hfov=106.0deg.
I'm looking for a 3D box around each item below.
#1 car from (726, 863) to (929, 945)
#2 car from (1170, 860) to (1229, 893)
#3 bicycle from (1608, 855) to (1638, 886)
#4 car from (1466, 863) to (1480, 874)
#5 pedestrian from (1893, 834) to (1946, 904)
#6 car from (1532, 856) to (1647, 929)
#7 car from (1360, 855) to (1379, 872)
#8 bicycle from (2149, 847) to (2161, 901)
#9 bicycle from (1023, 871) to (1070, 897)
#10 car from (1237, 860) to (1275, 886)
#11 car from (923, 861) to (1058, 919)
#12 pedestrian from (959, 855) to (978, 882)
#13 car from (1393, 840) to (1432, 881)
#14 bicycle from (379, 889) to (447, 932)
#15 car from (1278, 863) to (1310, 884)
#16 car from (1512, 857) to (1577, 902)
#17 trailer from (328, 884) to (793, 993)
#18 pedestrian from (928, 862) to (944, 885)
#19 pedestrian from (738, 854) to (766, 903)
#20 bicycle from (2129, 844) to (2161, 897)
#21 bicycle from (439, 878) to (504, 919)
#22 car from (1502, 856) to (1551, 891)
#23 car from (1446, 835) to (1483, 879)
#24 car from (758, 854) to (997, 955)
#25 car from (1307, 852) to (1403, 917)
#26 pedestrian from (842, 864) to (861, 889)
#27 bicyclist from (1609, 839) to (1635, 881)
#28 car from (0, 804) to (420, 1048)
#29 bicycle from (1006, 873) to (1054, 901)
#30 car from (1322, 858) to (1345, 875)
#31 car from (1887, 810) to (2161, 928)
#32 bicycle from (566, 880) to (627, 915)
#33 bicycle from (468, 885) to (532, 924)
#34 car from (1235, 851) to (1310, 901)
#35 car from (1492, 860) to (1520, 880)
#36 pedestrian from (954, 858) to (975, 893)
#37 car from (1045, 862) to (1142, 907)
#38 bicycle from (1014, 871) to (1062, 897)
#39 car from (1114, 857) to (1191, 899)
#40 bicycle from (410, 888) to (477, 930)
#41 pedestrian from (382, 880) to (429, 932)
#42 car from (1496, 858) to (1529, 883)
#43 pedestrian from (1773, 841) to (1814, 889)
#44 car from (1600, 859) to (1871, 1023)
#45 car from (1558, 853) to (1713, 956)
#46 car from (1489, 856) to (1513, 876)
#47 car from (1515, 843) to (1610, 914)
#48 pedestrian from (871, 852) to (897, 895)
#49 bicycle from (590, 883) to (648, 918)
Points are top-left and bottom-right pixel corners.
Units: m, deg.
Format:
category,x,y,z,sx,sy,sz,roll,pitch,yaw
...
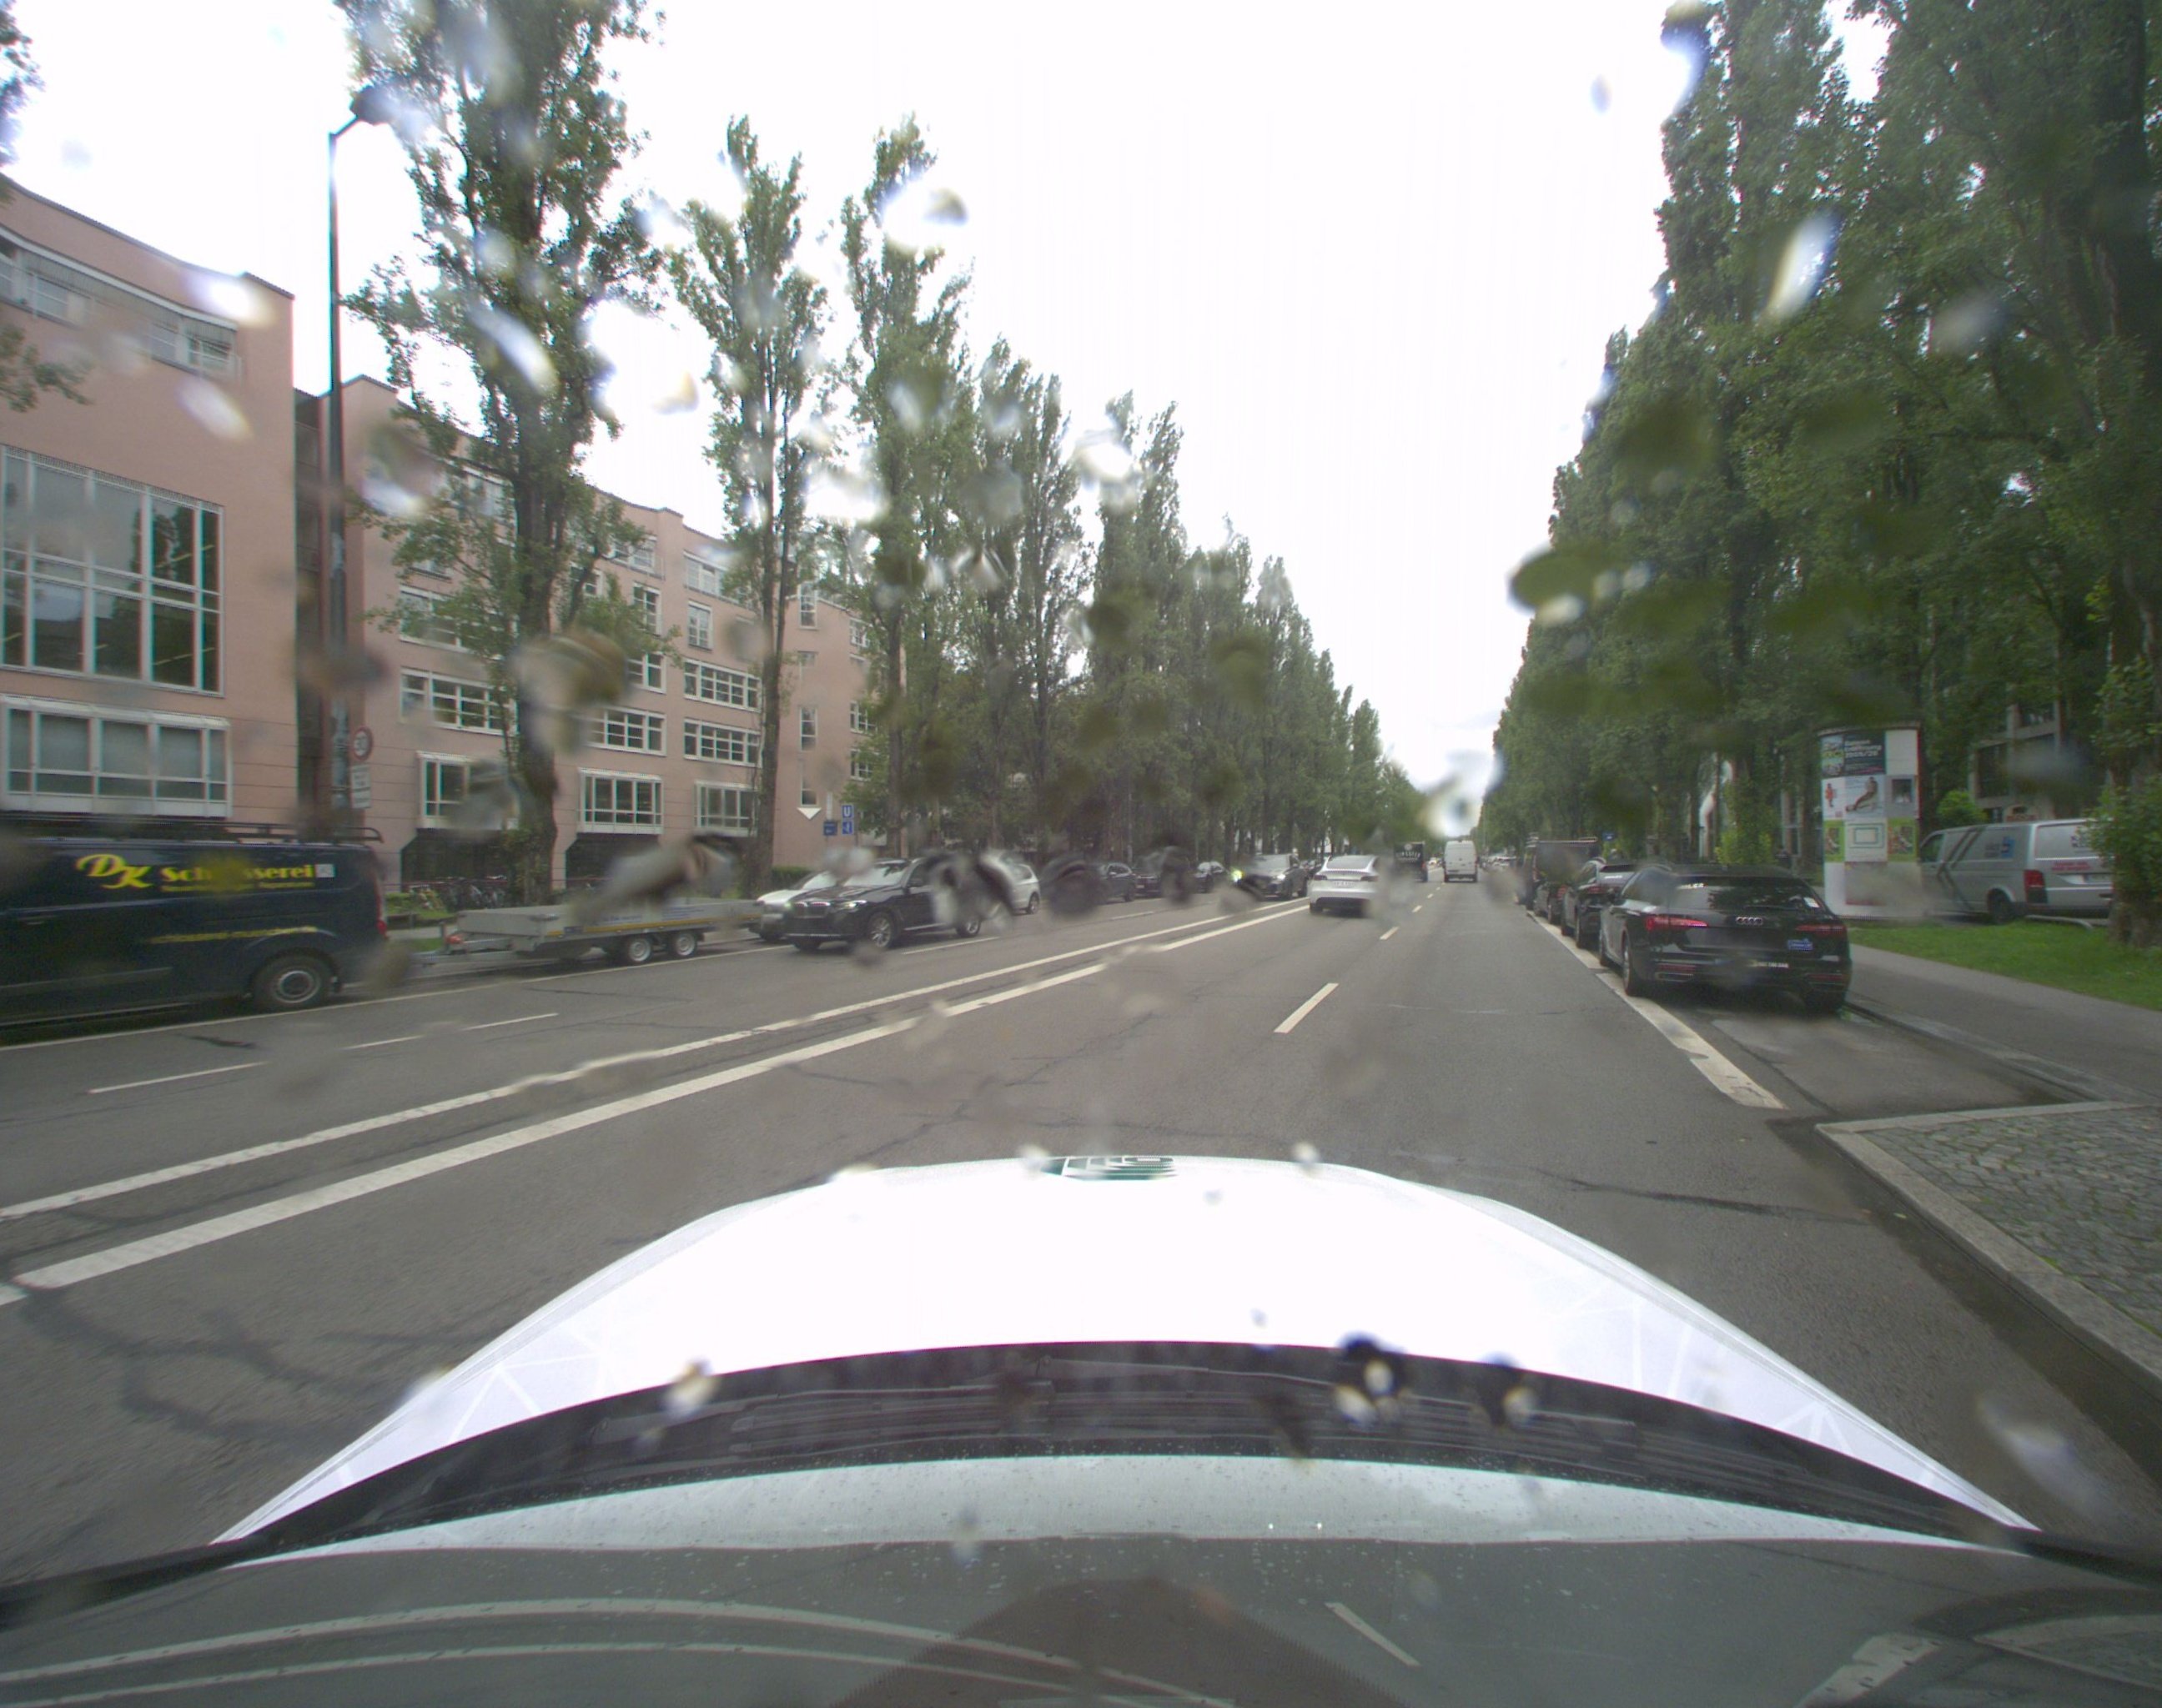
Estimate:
category,x,y,z,sx,sy,sz,roll,pitch,yaw
car,-5.470,1.022,18.136,1.783,1.542,4.260,-3,-1,27
car,6.190,1.151,42.166,1.976,1.606,4.376,-1,-1,23
bicycle,21.236,0.666,31.933,0.710,1.148,1.911,-5,-4,27
car,59.302,2.169,123.321,1.727,1.643,3.973,0,-1,24
pedestrian,22.281,0.395,21.661,0.741,1.803,0.848,-2,-1,30
car,12.032,0.834,19.525,1.727,1.527,4.258,0,-1,23
car,39.372,1.245,111.046,1.975,2.119,5.029,-1,0,25
bicycle,23.900,0.411,17.015,1.846,1.160,0.591,-1,0,27
bicycle,-1.518,1.337,35.990,1.964,1.124,0.680,-1,-1,26
car,11.772,1.263,54.778,1.926,1.579,3.629,-1,0,21
car,-2.554,1.005,24.110,1.975,1.542,4.349,-1,-1,24
pedestrian,-7.169,0.920,51.914,0.807,1.662,0.902,-1,-1,26
car,21.766,0.394,53.331,2.057,2.556,5.966,0,0,25
bicycle,-18.356,1.535,22.376,1.964,1.124,0.680,-1,-1,26
car,17.056,1.545,65.012,1.745,1.579,3.995,-1,-1,25
car,17.097,0.888,30.189,1.727,1.527,3.973,0,-1,24
trailer,-7.950,1.177,13.419,2.374,1.199,6.074,-1,-1,26
pedestrian,-10.748,1.450,60.394,0.807,1.662,0.902,-1,-1,26
pedestrian,-10.860,0.803,26.892,0.662,1.604,0.552,0,-1,-45
bicycle,24.227,0.352,17.594,1.846,1.160,0.591,-1,-1,27
bicycle,-17.742,1.287,23.707,1.964,1.124,0.680,-1,-1,26
car,21.337,0.896,39.131,1.727,1.591,3.973,0,-1,24
car,24.918,0.178,52.878,2.021,2.652,6.076,0,0,25
car,-3.709,0.856,15.786,1.975,1.642,4.577,-2,-1,26
car,7.653,0.754,22.417,1.975,1.575,4.665,0,0,25
pedestrian,-15.084,1.467,53.565,0.807,1.662,0.902,-1,-1,26
bicyclist,21.228,0.227,31.967,0.715,1.619,0.761,-3,-1,28
car,-10.430,0.665,8.197,1.998,2.197,5.529,-1,-1,26
bicycle,-2.173,1.400,34.579,1.964,1.124,0.680,-1,-1,26
car,25.519,1.256,82.251,1.745,1.579,3.481,-2,-1,25
car,17.922,0.273,15.691,1.792,1.896,5.233,-1,-1,26
bicycle,-15.993,1.420,26.865,2.080,1.124,0.680,-1,-1,26
bicycle,-17.385,1.494,24.371,1.964,1.124,0.680,-1,-1,26
car,7.430,0.820,31.232,1.976,1.716,4.785,-3,-2,22
car,32.825,1.217,62.967,1.727,1.546,3.973,0,-1,24
pedestrian,-5.710,1.042,39.834,0.700,1.714,0.736,-1,-1,26
car,0.565,1.117,31.189,1.975,1.542,4.350,-1,-1,26
bicycle,-1.873,1.300,35.317,1.964,1.124,0.680,-1,-1,26
car,3.355,1.056,37.142,1.975,1.797,4.789,-1,-1,25
bicycle,-18.037,1.537,23.038,1.964,1.124,0.680,-1,-1,26
pedestrian,-16.100,1.221,19.429,0.710,1.187,0.725,0,-1,-26
car,29.427,1.077,55.604,1.727,1.643,3.973,0,-1,24
pedestrian,26.617,0.409,30.438,0.900,1.752,0.865,-1,-1,26
car,7.255,0.786,9.524,1.734,1.427,4.475,0,-1,29
car,9.478,0.770,14.226,1.726,1.527,3.930,0,-1,26
car,38.139,1.078,74.015,1.727,1.787,3.973,0,-1,24
car,14.480,0.672,24.748,1.893,1.924,5.067,0,-1,24
pedestrian,-7.968,0.780,33.019,0.700,1.714,0.736,-1,-1,26
bicycle,-15.633,1.548,27.542,1.964,1.124,0.680,-1,-1,26
